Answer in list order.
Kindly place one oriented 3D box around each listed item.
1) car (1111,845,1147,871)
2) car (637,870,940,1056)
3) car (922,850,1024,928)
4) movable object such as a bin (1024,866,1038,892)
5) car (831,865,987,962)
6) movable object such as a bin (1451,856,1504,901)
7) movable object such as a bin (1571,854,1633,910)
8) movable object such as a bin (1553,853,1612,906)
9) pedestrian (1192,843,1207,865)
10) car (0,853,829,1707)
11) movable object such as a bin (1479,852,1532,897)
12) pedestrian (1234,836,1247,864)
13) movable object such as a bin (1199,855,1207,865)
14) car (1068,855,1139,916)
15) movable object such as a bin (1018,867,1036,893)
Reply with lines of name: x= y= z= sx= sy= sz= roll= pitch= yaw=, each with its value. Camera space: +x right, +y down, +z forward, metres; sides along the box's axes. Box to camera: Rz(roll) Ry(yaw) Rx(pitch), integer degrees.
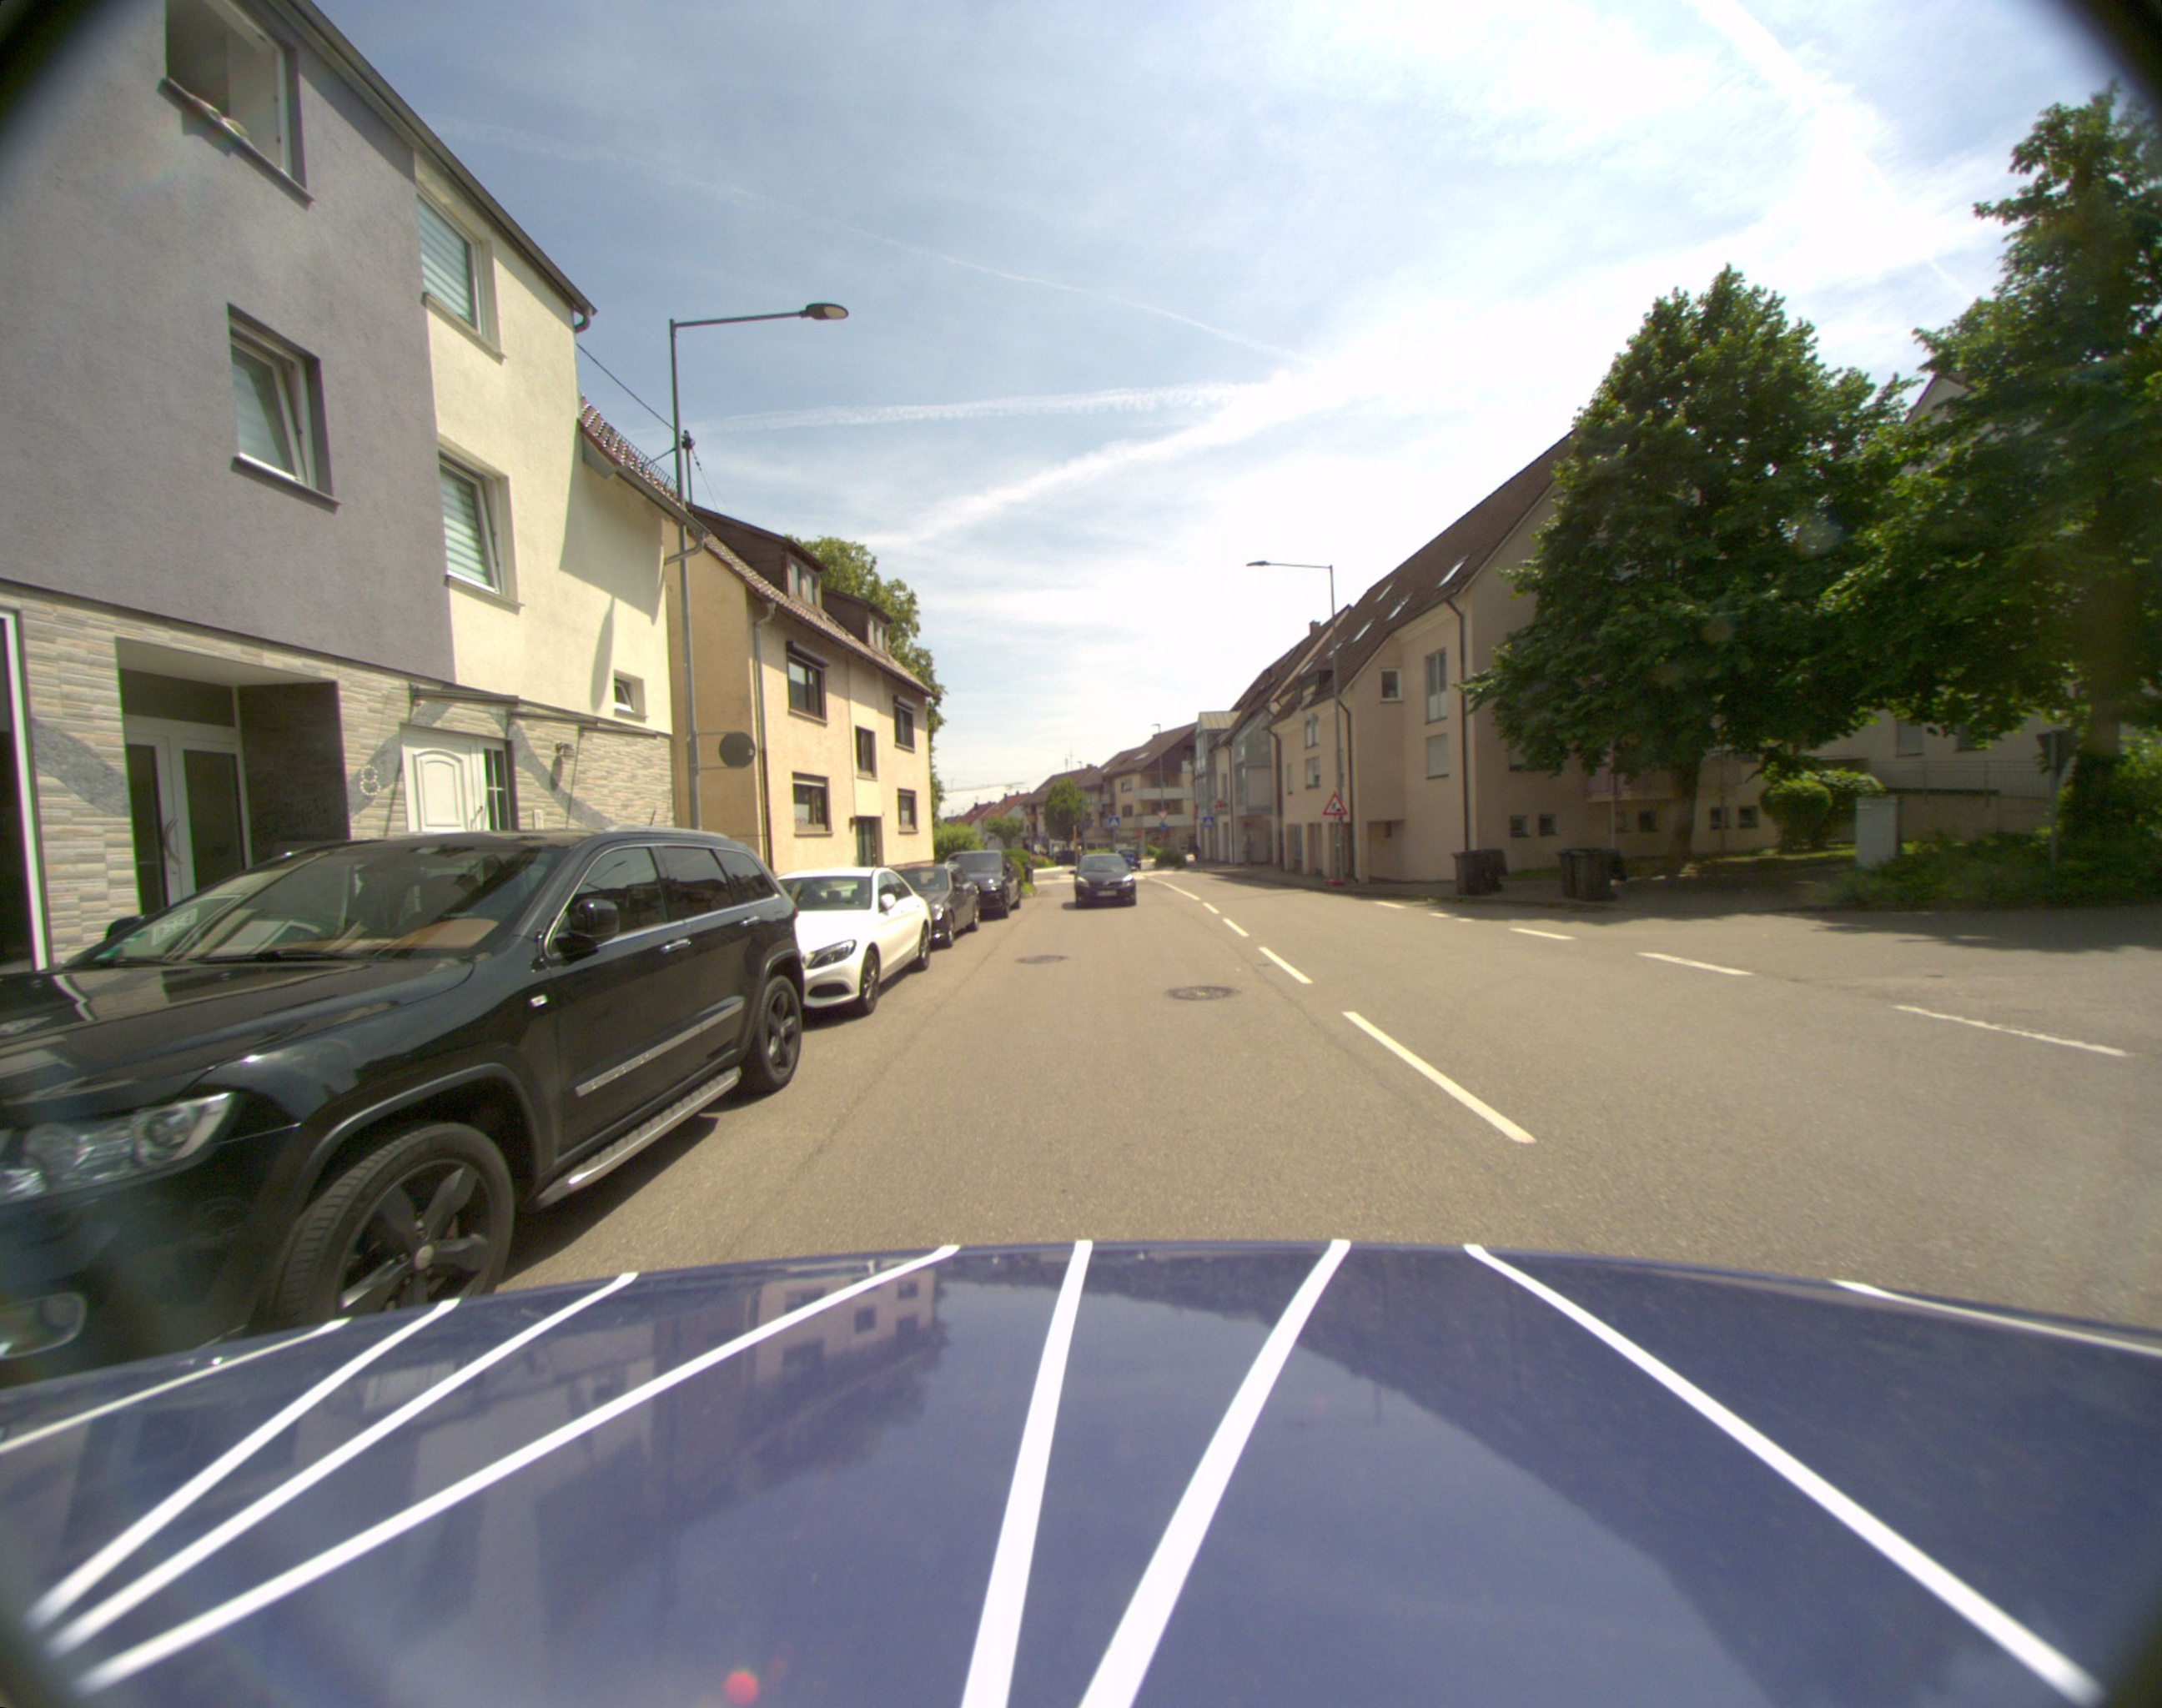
car: x=3.241 y=0.249 z=52.348 sx=1.757 sy=1.575 sz=3.942 roll=-3 pitch=1 yaw=-6
car: x=-2.977 y=0.996 z=8.975 sx=1.793 sy=1.447 sz=4.715 roll=-2 pitch=0 yaw=-1
car: x=-2.685 y=0.806 z=20.035 sx=1.848 sy=1.660 sz=4.655 roll=-3 pitch=1 yaw=1
movable object such as a bin: x=-2.033 y=1.013 z=31.002 sx=0.502 sy=0.988 sz=0.503 roll=-3 pitch=1 yaw=-7
car: x=-3.031 y=0.984 z=14.357 sx=1.793 sy=1.412 sz=4.358 roll=-2 pitch=0 yaw=1
movable object such as a bin: x=9.353 y=0.563 z=17.946 sx=0.853 sy=0.994 sz=0.694 roll=-3 pitch=1 yaw=3
movable object such as a bin: x=10.474 y=0.553 z=15.296 sx=0.773 sy=0.995 sz=0.609 roll=-6 pitch=3 yaw=4
movable object such as a bin: x=10.507 y=0.522 z=15.925 sx=0.773 sy=0.995 sz=0.609 roll=-6 pitch=3 yaw=3
pedestrian: x=8.126 y=-0.028 z=51.971 sx=0.802 sy=1.469 sz=0.957 roll=-3 pitch=1 yaw=0
car: x=-2.880 y=0.880 z=3.416 sx=1.959 sy=1.706 sz=4.715 roll=-2 pitch=0 yaw=-1
movable object such as a bin: x=10.223 y=0.473 z=18.319 sx=0.802 sy=0.994 sz=0.805 roll=-4 pitch=1 yaw=3
pedestrian: x=9.702 y=-0.250 z=46.310 sx=0.577 sy=1.699 sz=0.579 roll=-4 pitch=1 yaw=2
movable object such as a bin: x=8.316 y=0.406 z=51.650 sx=0.459 sy=0.578 sz=0.469 roll=-3 pitch=1 yaw=0
car: x=0.571 y=0.806 z=21.477 sx=1.725 sy=1.448 sz=4.429 roll=-3 pitch=0 yaw=0
movable object such as a bin: x=-2.126 y=1.033 z=30.168 sx=0.525 sy=0.987 sz=0.502 roll=-3 pitch=1 yaw=15
